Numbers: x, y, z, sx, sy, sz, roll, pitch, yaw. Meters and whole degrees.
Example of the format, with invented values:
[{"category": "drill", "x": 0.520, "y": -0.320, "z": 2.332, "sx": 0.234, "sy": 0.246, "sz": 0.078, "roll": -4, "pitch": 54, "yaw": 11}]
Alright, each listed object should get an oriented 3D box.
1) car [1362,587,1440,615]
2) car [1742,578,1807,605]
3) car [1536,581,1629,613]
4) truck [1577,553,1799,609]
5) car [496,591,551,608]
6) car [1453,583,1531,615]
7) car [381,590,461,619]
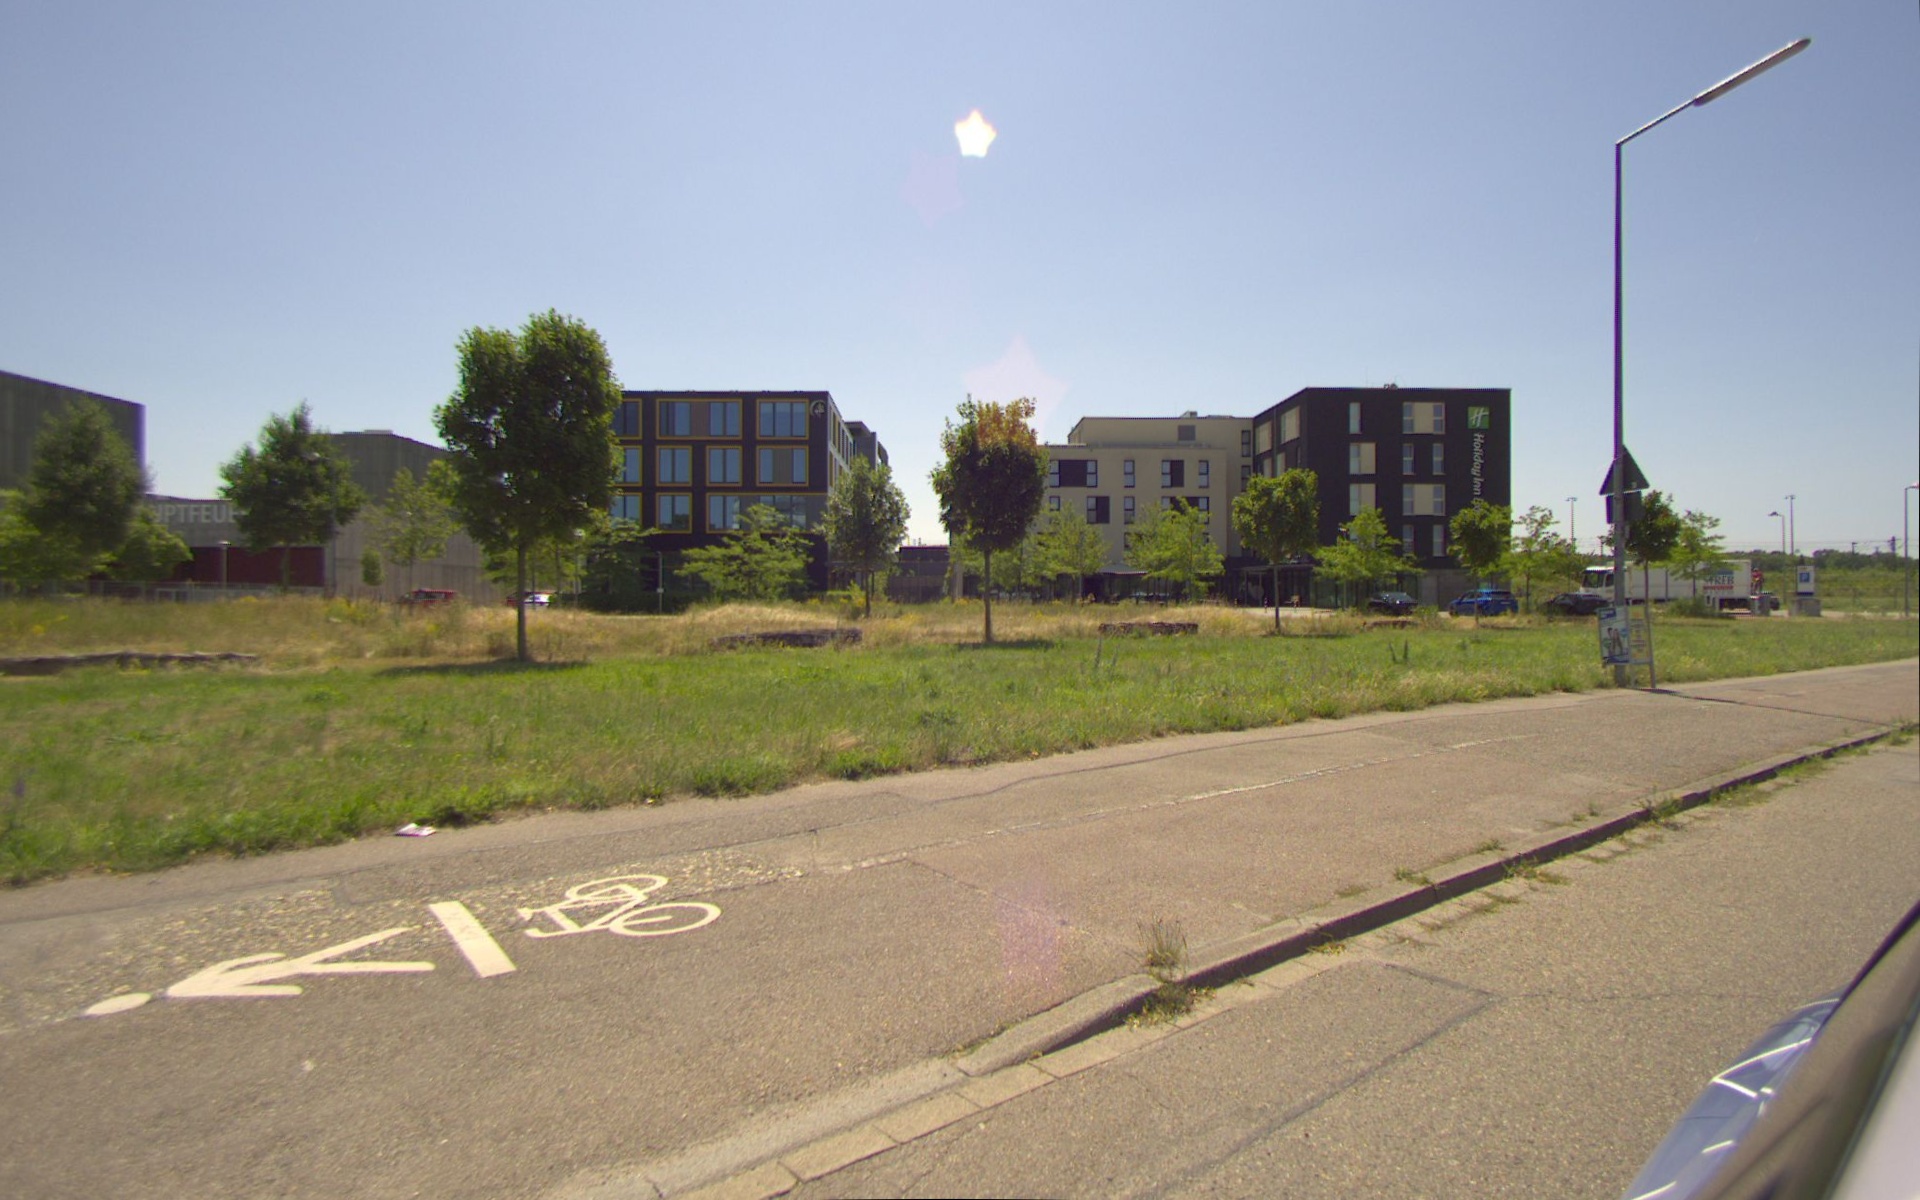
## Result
[{"category": "car", "x": 23.478, "y": 0.030, "z": 54.045, "sx": 1.922, "sy": 1.463, "sz": 4.132, "roll": 0, "pitch": 1, "yaw": -7}, {"category": "car", "x": 61.924, "y": -0.638, "z": 77.022, "sx": 1.845, "sy": 2.039, "sz": 3.916, "roll": 0, "pitch": 1, "yaw": 0}, {"category": "car", "x": 32.934, "y": -0.179, "z": 53.689, "sx": 1.992, "sy": 1.581, "sz": 4.511, "roll": 0, "pitch": 1, "yaw": -3}, {"category": "truck", "x": 46.601, "y": -1.234, "z": 65.046, "sx": 11.910, "sy": 3.504, "sz": 3.019, "roll": 0, "pitch": 2, "yaw": 1}, {"category": "car", "x": -41.802, "y": -0.050, "z": 96.955, "sx": 4.436, "sy": 1.529, "sz": 1.804, "roll": 0, "pitch": 0, "yaw": -4}, {"category": "car", "x": 28.371, "y": -0.066, "z": 54.089, "sx": 1.917, "sy": 1.672, "sz": 4.073, "roll": 0, "pitch": 0, "yaw": -2}, {"category": "car", "x": -41.911, "y": 0.344, "z": 78.804, "sx": 5.062, "sy": 2.142, "sz": 2.237, "roll": -1, "pitch": 0, "yaw": 0}]
